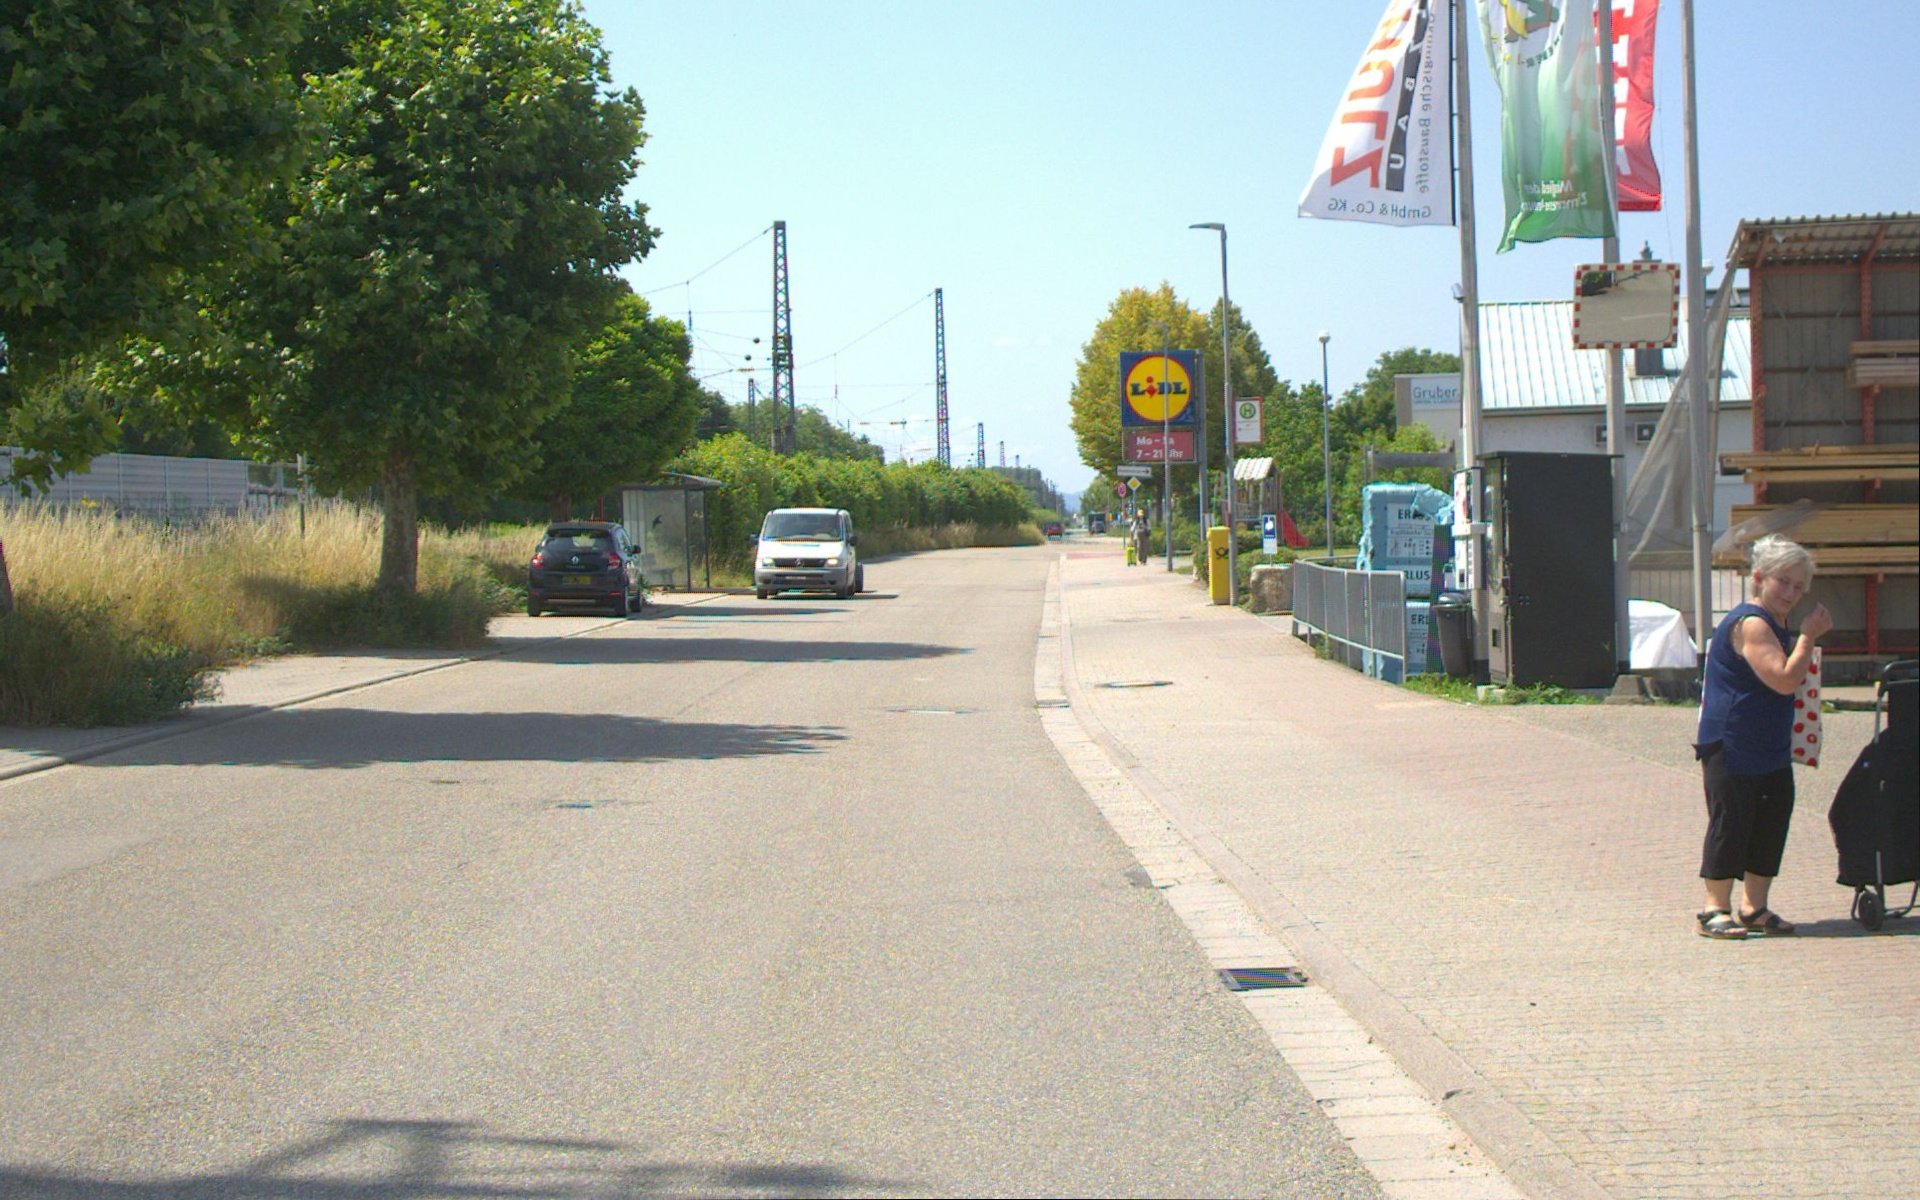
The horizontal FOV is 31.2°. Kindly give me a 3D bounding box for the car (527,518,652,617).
[{"bbox_3d":[-6.229,-0.578,58.107,1.741,1.590,3.580,0,2,-1],"label":"car"}]

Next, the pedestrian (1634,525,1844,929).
[{"bbox_3d":[2.789,0.447,12.352,0.565,1.400,0.584,-2,-1,-1],"label":"pedestrian"}]

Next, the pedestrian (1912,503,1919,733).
[{"bbox_3d":[3.763,0.407,12.260,0.535,1.534,0.511,-2,-1,-1],"label":"pedestrian"}]

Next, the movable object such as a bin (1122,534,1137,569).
[{"bbox_3d":[4.993,-1.437,101.488,0.374,1.026,0.499,-2,1,-1],"label":"movable object such as a bin"}]

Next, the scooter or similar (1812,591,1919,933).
[{"bbox_3d":[3.283,0.571,12.291,0.334,1.194,0.398,-2,-1,0],"label":"scooter or similar"}]

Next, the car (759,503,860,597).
[{"bbox_3d":[-3.077,-1.055,71.003,1.838,1.851,4.484,0,1,0],"label":"car"}]

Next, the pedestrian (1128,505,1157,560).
[{"bbox_3d":[5.403,-1.999,101.860,0.761,1.596,1.210,-1,2,-1],"label":"pedestrian"}]
